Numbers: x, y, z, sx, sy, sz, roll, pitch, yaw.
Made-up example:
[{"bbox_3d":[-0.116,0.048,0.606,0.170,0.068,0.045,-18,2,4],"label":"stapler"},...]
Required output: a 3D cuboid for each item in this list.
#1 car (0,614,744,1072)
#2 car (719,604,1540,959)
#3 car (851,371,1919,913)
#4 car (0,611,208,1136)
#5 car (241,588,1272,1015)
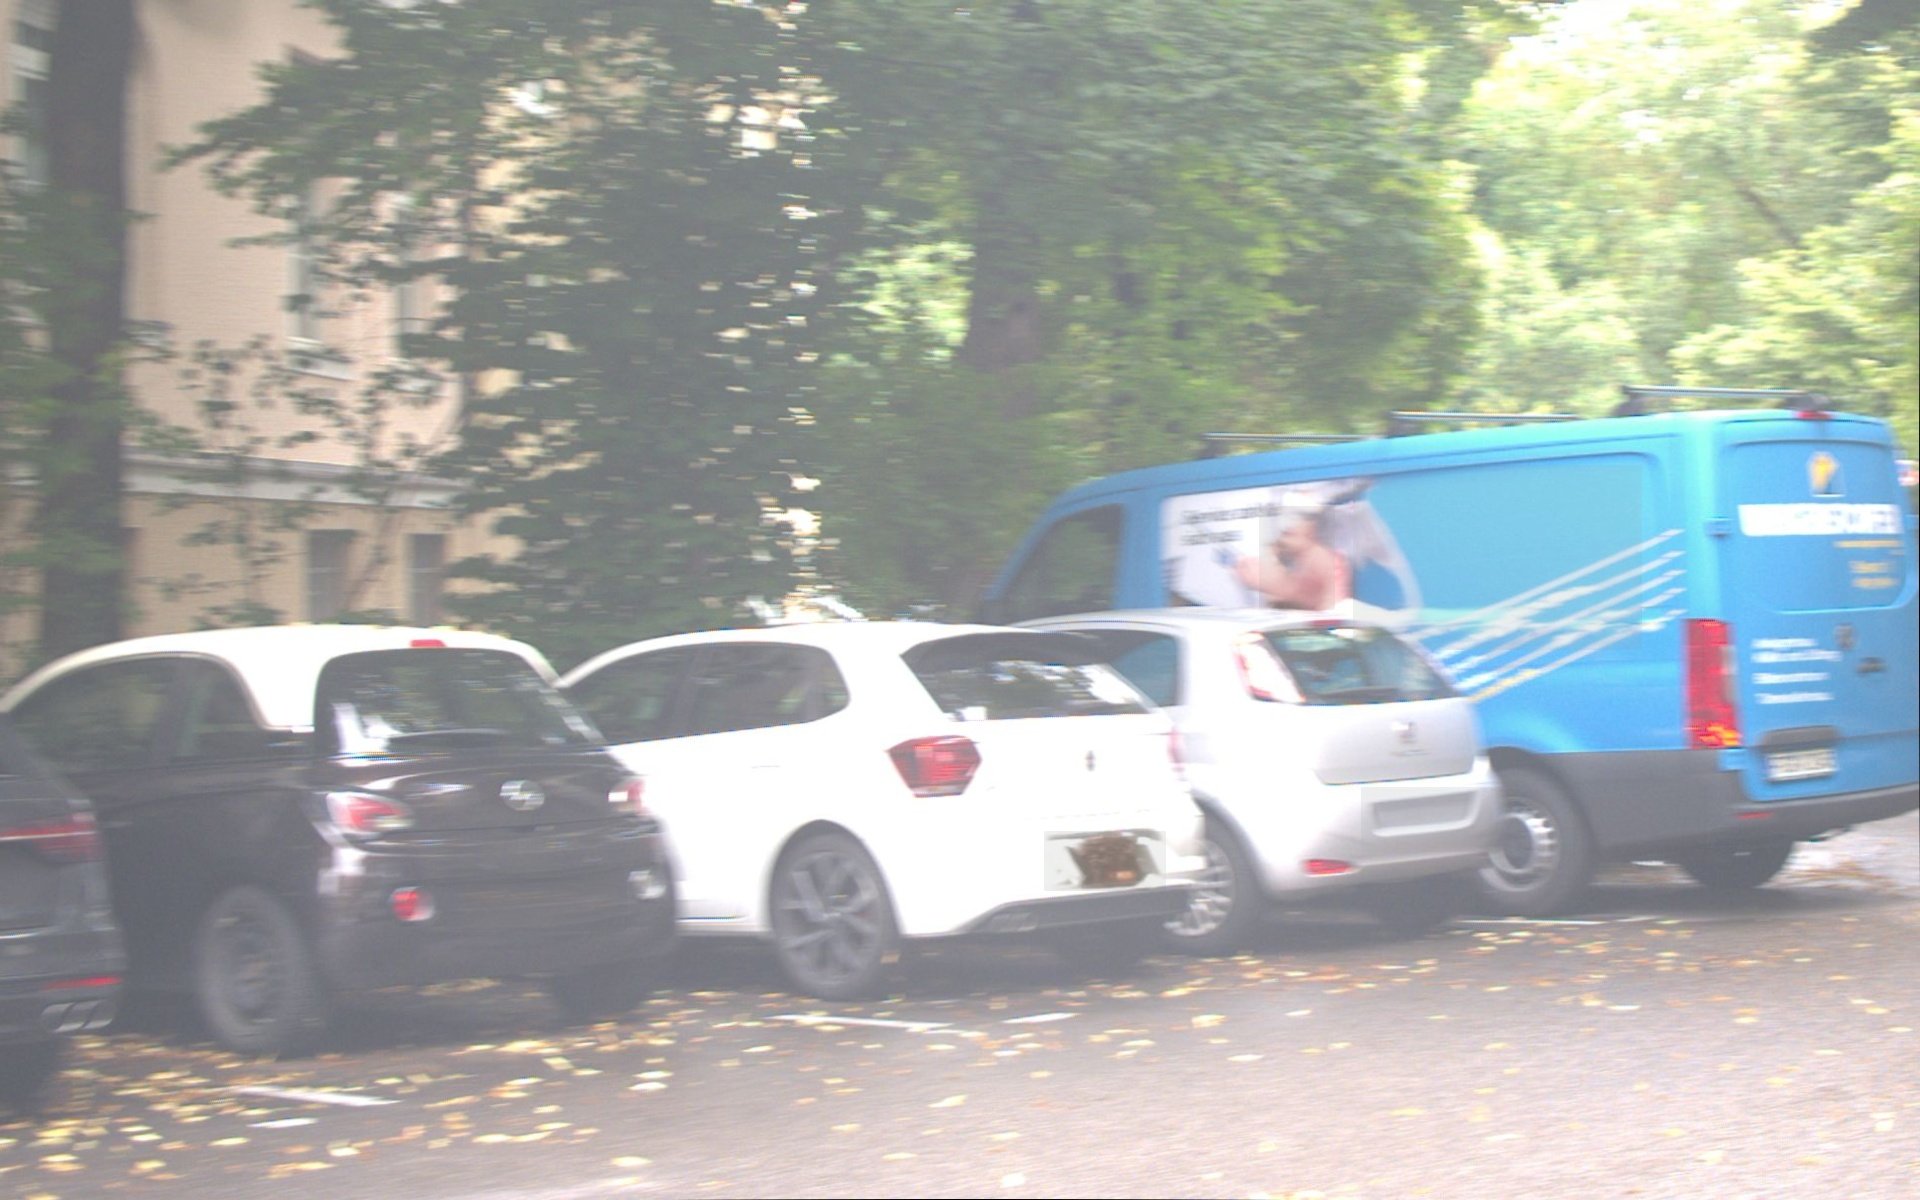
[{"bbox_3d":[-2.780,0.901,12.911,3.746,1.421,1.828,-5,-3,44],"label":"car"},{"bbox_3d":[0.697,0.785,15.783,3.551,1.428,1.640,-2,-1,45],"label":"car"},{"bbox_3d":[2.121,0.289,17.554,5.491,2.346,2.060,-3,-2,44],"label":"car"},{"bbox_3d":[-4.282,0.849,10.695,1.859,1.420,4.160,-1,-2,-44],"label":"car"},{"bbox_3d":[-0.981,0.863,14.433,4.282,1.508,1.799,-5,-3,43],"label":"car"}]
